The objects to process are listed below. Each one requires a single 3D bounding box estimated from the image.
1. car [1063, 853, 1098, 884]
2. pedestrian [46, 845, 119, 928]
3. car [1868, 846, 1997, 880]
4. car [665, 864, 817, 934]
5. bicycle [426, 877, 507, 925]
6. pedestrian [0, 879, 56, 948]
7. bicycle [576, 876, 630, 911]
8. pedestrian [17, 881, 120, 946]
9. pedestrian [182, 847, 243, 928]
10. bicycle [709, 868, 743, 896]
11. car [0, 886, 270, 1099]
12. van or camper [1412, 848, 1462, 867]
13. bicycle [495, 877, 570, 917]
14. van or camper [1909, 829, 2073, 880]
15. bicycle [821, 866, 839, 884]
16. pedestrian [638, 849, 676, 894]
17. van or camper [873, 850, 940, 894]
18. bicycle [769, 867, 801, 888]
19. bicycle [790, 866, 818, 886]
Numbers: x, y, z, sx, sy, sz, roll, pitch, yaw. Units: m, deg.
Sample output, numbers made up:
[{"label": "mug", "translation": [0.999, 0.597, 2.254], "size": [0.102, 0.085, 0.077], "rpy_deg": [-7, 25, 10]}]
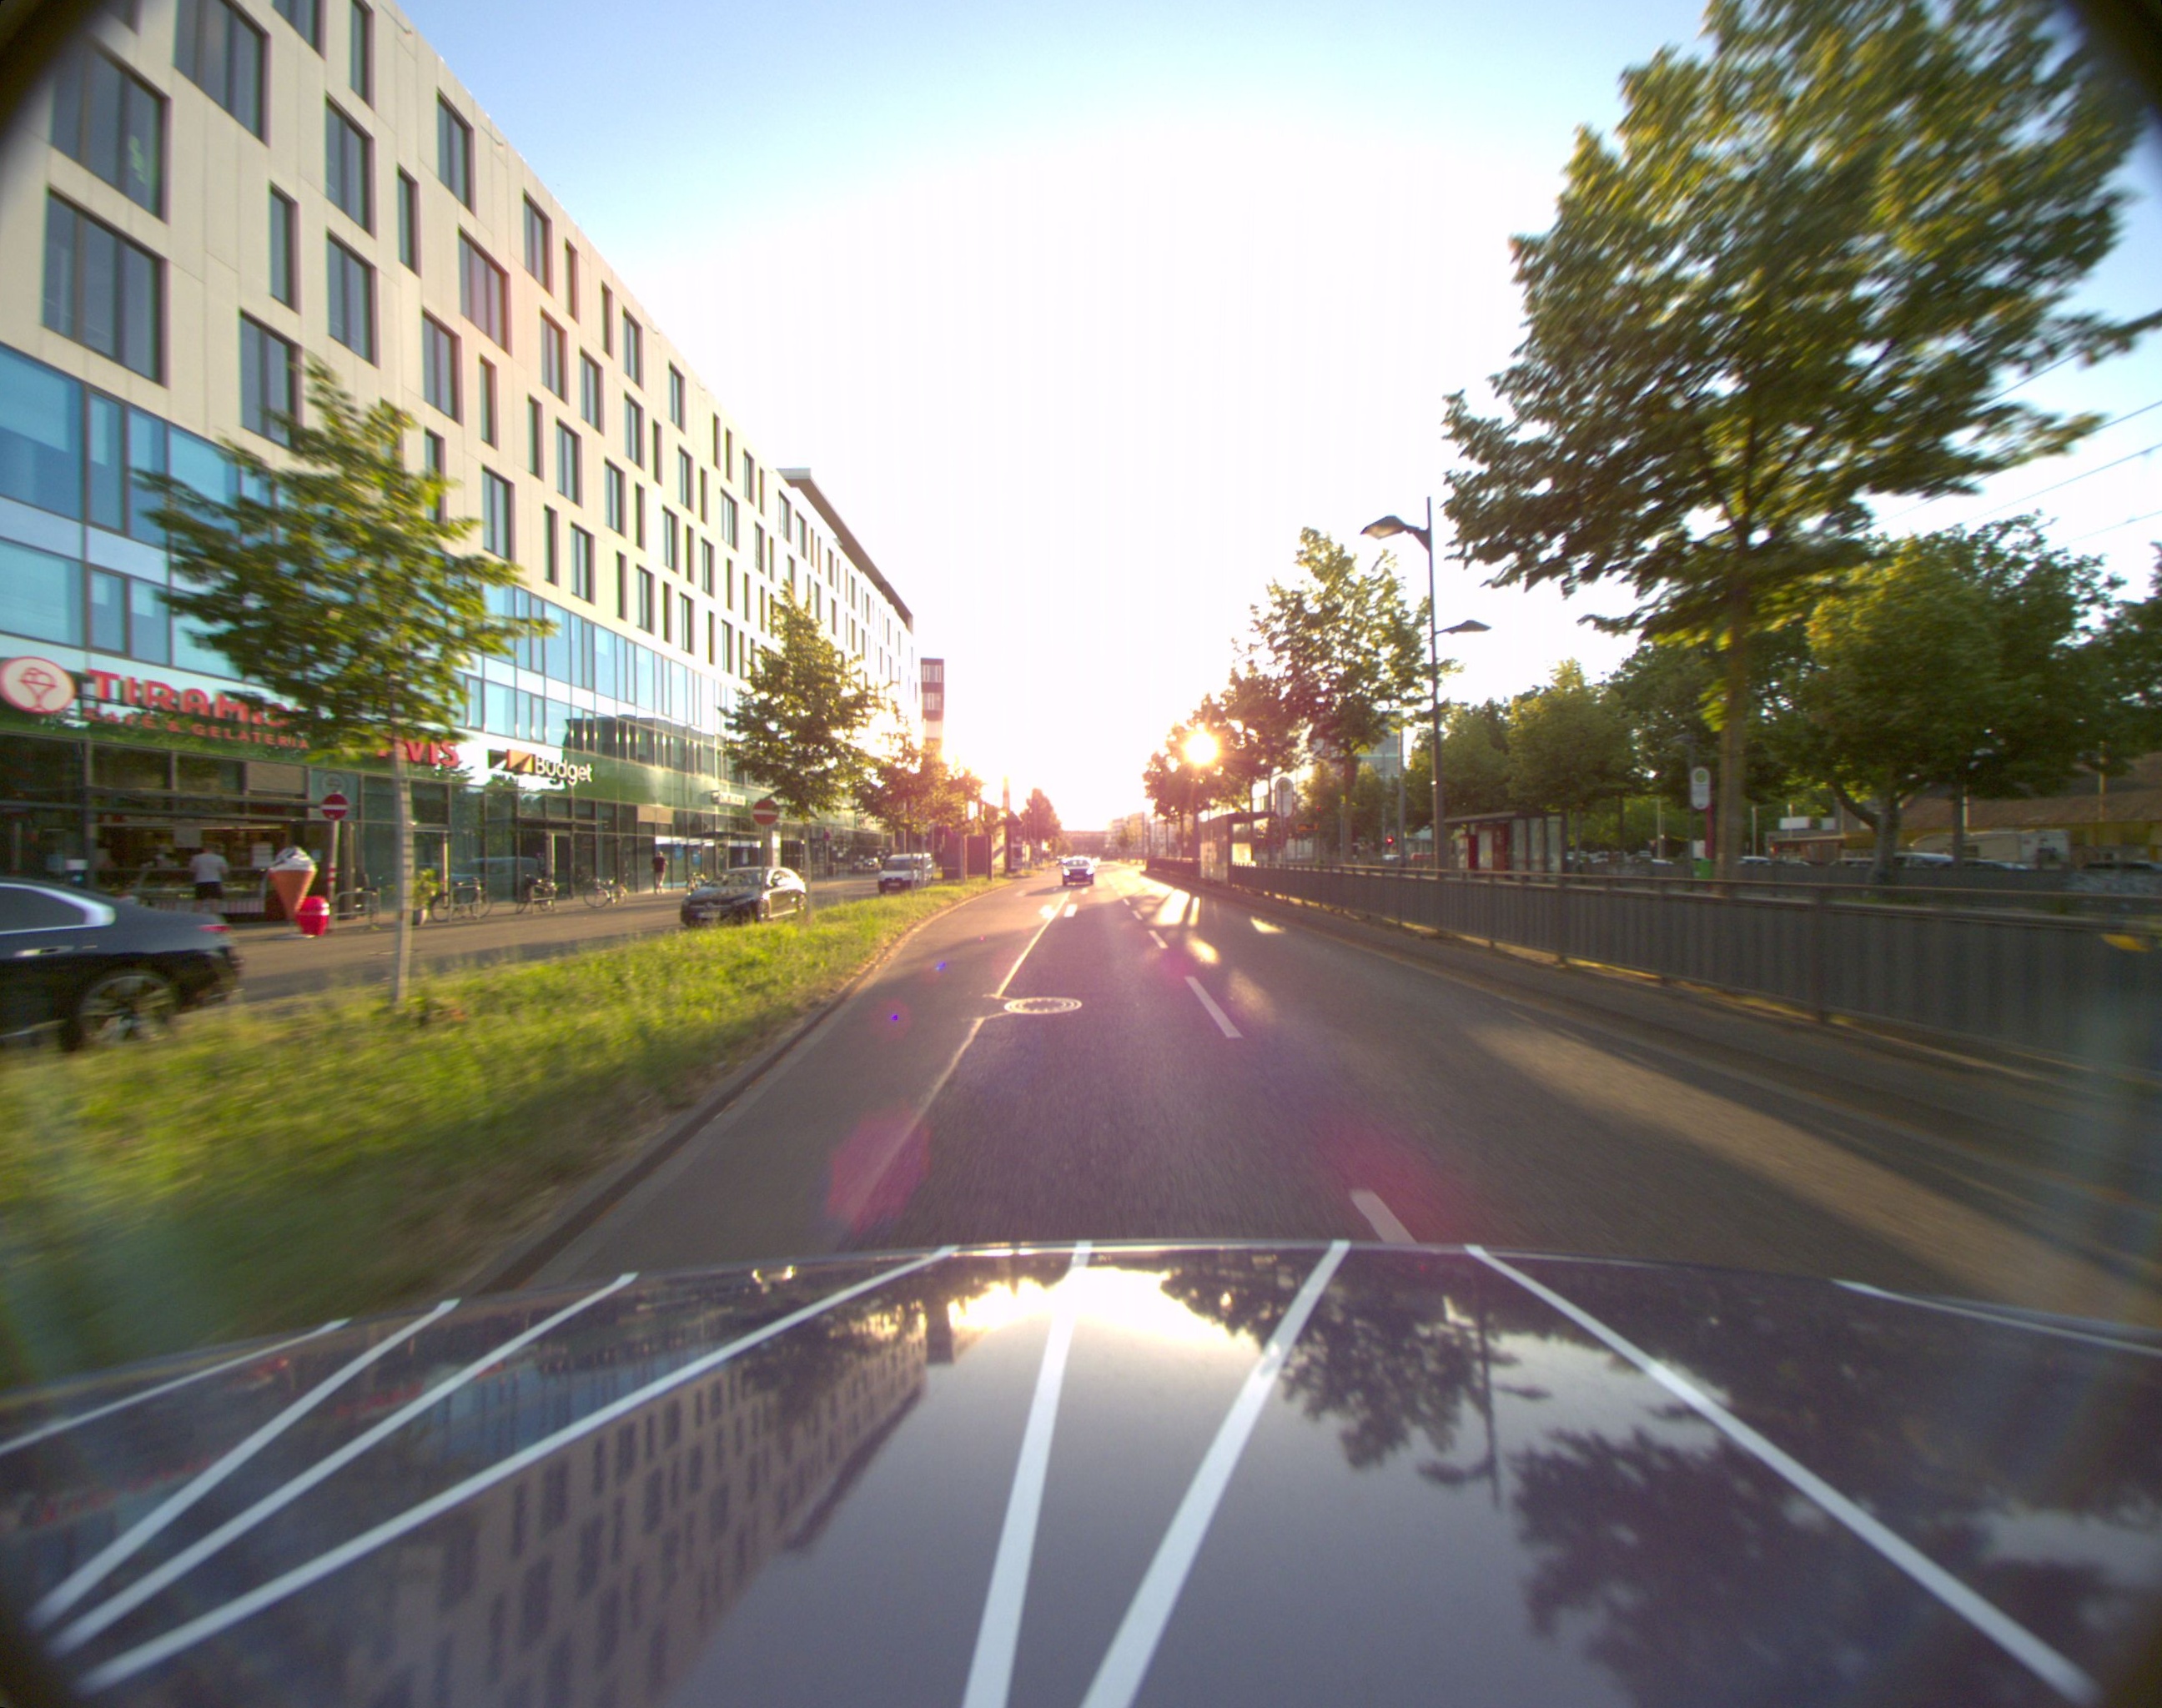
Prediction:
[{"label": "car", "translation": [0.000, 0.797, 42.295], "size": [1.828, 1.625, 4.000], "rpy_deg": [-1, 0, 0]}, {"label": "pedestrian", "translation": [-21.620, 0.682, 16.455], "size": [0.662, 1.749, 0.685], "rpy_deg": [2, 0, 2]}, {"label": "car", "translation": [41.241, 0.425, 36.964], "size": [1.997, 1.521, 4.002], "rpy_deg": [-1, 0, 6]}, {"label": "car", "translation": [-8.420, 1.042, 19.328], "size": [1.813, 1.492, 4.479], "rpy_deg": [-1, 0, 0]}, {"label": "bicycle", "translation": [-15.775, 1.179, 19.567], "size": [0.641, 1.126, 1.873], "rpy_deg": [1, 0, -3]}, {"label": "pedestrian", "translation": [-18.704, 1.010, 13.152], "size": [0.975, 1.119, 0.685], "rpy_deg": [2, 0, 1]}, {"label": "bicycle", "translation": [-15.429, 1.244, 24.605], "size": [0.598, 1.034, 2.072], "rpy_deg": [1, 0, -5]}, {"label": "pedestrian", "translation": [-18.544, 1.078, 13.935], "size": [0.975, 1.119, 0.685], "rpy_deg": [2, 0, 1]}, {"label": "pedestrian", "translation": [-19.439, 0.729, 17.015], "size": [0.661, 1.749, 0.686], "rpy_deg": [2, 1, 18]}, {"label": "bicycle", "translation": [-15.350, 1.201, 32.938], "size": [0.388, 1.102, 2.148], "rpy_deg": [2, 0, 1]}, {"label": "car", "translation": [-8.915, 1.064, 4.720], "size": [1.924, 1.492, 5.411], "rpy_deg": [-1, 0, 0]}, {"label": "van or camper", "translation": [39.887, 0.365, 85.251], "size": [4.879, 2.002, 2.002], "rpy_deg": [-2, 0, 17]}, {"label": "bicycle", "translation": [-15.786, 1.214, 21.946], "size": [0.685, 1.057, 2.073], "rpy_deg": [1, 0, -2]}, {"label": "van or camper", "translation": [48.458, 0.035, 40.721], "size": [2.396, 2.548, 5.636], "rpy_deg": [0, 0, 7]}, {"label": "bicycle", "translation": [-14.823, 1.230, 44.894], "size": [0.531, 1.034, 2.072], "rpy_deg": [1, 0, -5]}, {"label": "pedestrian", "translation": [-17.881, 0.722, 32.065], "size": [1.029, 1.872, 0.947], "rpy_deg": [0, 0, 0]}, {"label": "van or camper", "translation": [-8.389, 0.821, 36.962], "size": [1.963, 1.908, 4.830], "rpy_deg": [-2, 0, 1]}, {"label": "bicycle", "translation": [-15.218, 1.198, 39.144], "size": [0.530, 1.034, 1.919], "rpy_deg": [1, 0, 12]}, {"label": "bicycle", "translation": [-15.310, 1.198, 42.018], "size": [0.530, 1.034, 1.878], "rpy_deg": [1, 0, 12]}]
